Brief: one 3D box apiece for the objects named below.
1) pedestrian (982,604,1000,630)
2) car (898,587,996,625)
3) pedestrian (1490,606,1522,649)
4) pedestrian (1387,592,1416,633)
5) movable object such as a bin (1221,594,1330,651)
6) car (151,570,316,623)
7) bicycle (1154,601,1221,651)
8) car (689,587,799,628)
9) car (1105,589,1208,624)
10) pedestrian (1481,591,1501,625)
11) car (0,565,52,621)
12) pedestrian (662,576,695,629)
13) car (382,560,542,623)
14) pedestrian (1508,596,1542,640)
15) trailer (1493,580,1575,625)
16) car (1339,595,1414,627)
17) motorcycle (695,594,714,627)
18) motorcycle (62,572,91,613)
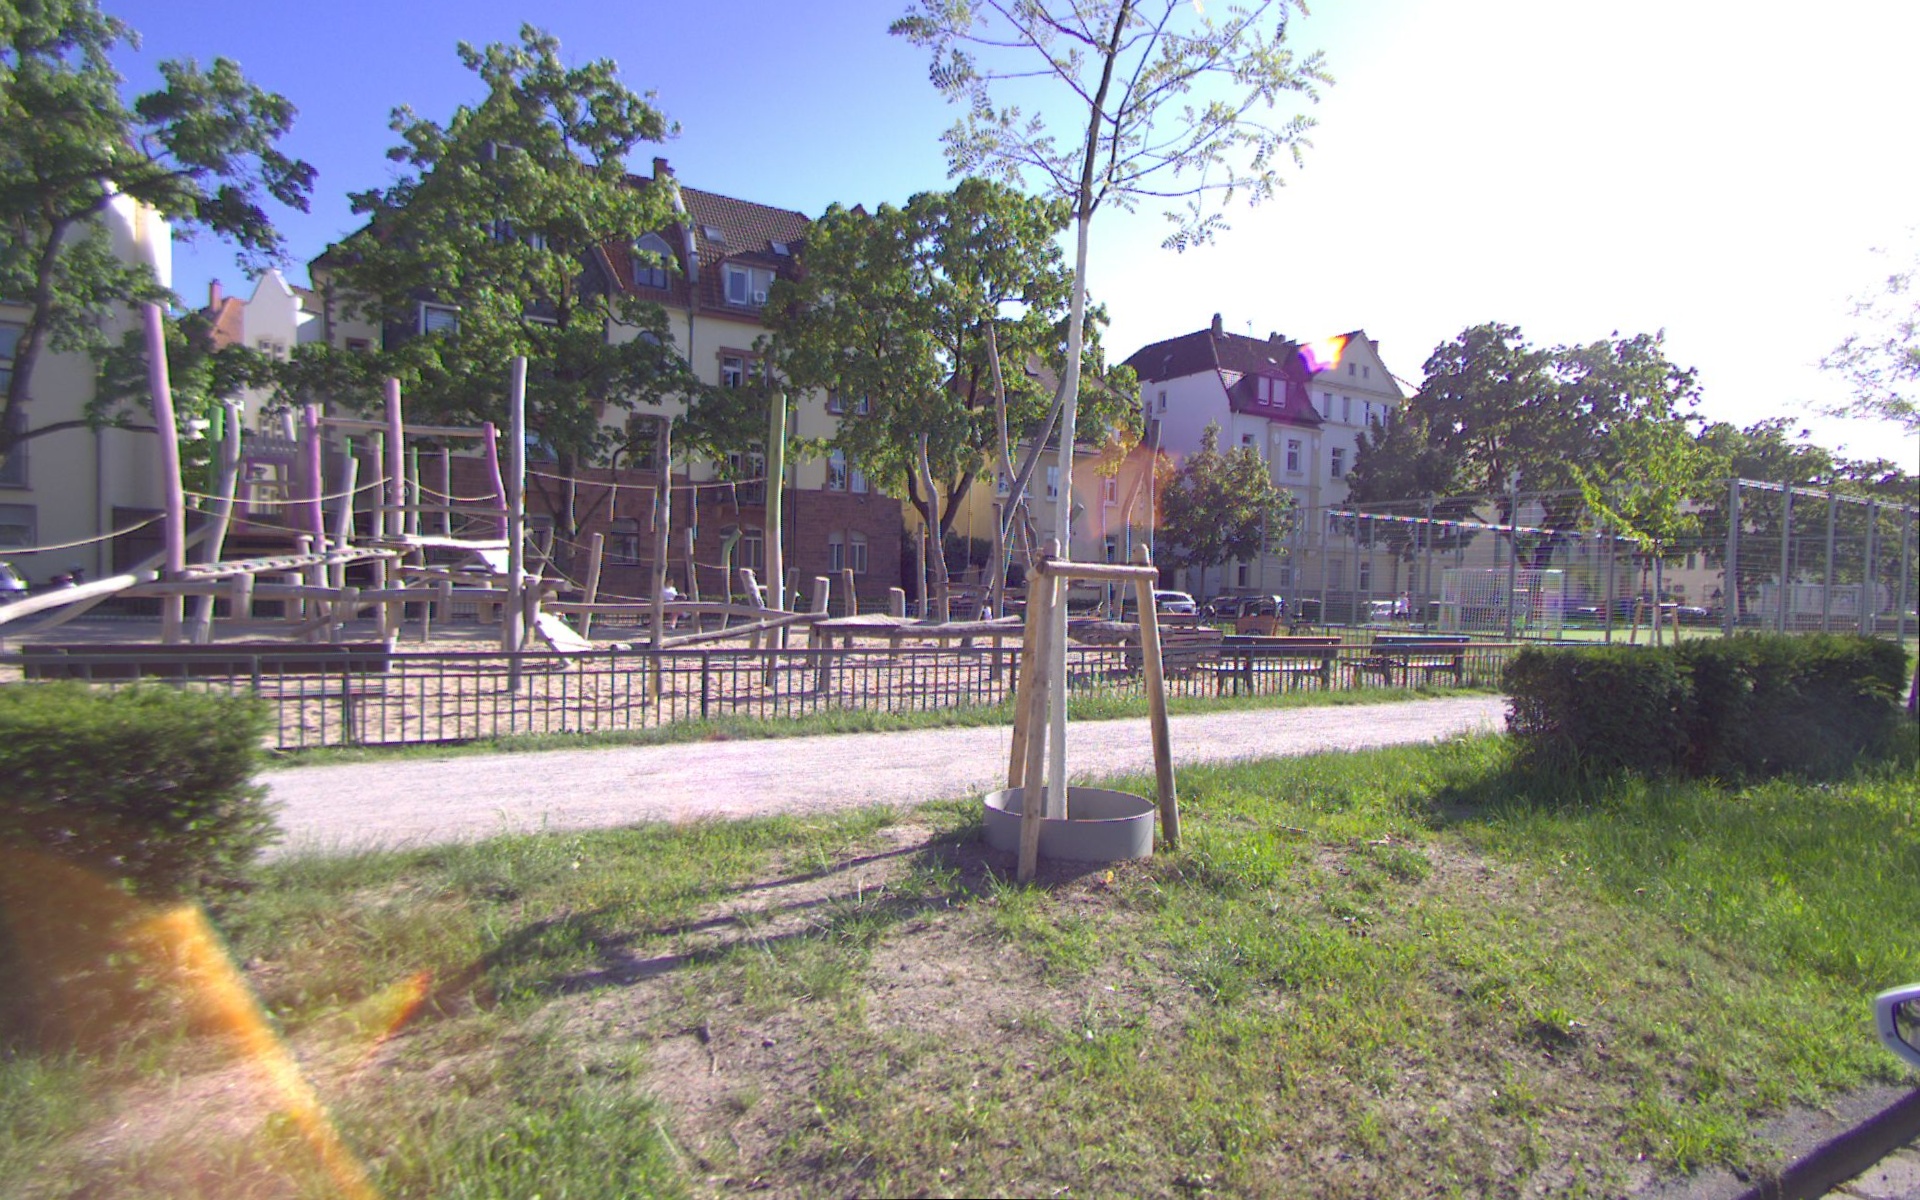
[{"bbox_3d":[0.965,0.532,31.664,0.354,0.815,0.481,1,2,-28],"label":"pedestrian"},{"bbox_3d":[-0.569,0.271,44.169,3.953,1.530,1.785,1,1,-30],"label":"car"},{"bbox_3d":[17.711,0.896,32.587,0.637,1.336,0.650,2,1,-1],"label":"pedestrian"},{"bbox_3d":[14.776,0.397,33.644,0.637,1.336,0.650,2,1,-1],"label":"pedestrian"},{"bbox_3d":[7.458,0.504,23.851,1.045,1.258,2.316,0,1,-33],"label":"movable object such as a bin"},{"bbox_3d":[-22.413,-0.108,31.193,3.953,1.530,1.785,1,1,-30],"label":"car"},{"bbox_3d":[5.536,0.627,24.555,0.494,1.122,1.784,0,2,-31],"label":"bicycle"},{"bbox_3d":[-8.604,0.293,40.049,3.953,1.530,1.785,1,1,-30],"label":"car"},{"bbox_3d":[9.932,0.333,50.694,5.121,1.674,1.872,1,1,-30],"label":"car"},{"bbox_3d":[26.988,0.406,51.042,0.642,1.683,0.645,1,0,-30],"label":"pedestrian"},{"bbox_3d":[-28.148,-0.229,27.942,3.953,1.530,1.785,1,1,-30],"label":"car"},{"bbox_3d":[-7.245,0.050,25.872,0.643,1.336,0.644,1,2,-33],"label":"pedestrian"},{"bbox_3d":[-17.011,-0.280,34.372,4.778,2.009,1.785,1,2,-30],"label":"car"},{"bbox_3d":[17.760,0.558,31.597,0.637,1.336,0.650,2,1,-1],"label":"pedestrian"},{"bbox_3d":[39.275,0.197,68.705,5.736,2.909,2.331,1,2,-31],"label":"trailer"},{"bbox_3d":[24.883,0.688,59.988,4.436,1.801,1.785,1,2,-30],"label":"car"},{"bbox_3d":[-6.706,0.265,26.370,0.281,0.838,0.698,1,2,-31],"label":"motorcycle"},{"bbox_3d":[-25.801,-0.230,29.343,0.495,1.122,1.781,1,1,-37],"label":"motorcycle"}]
